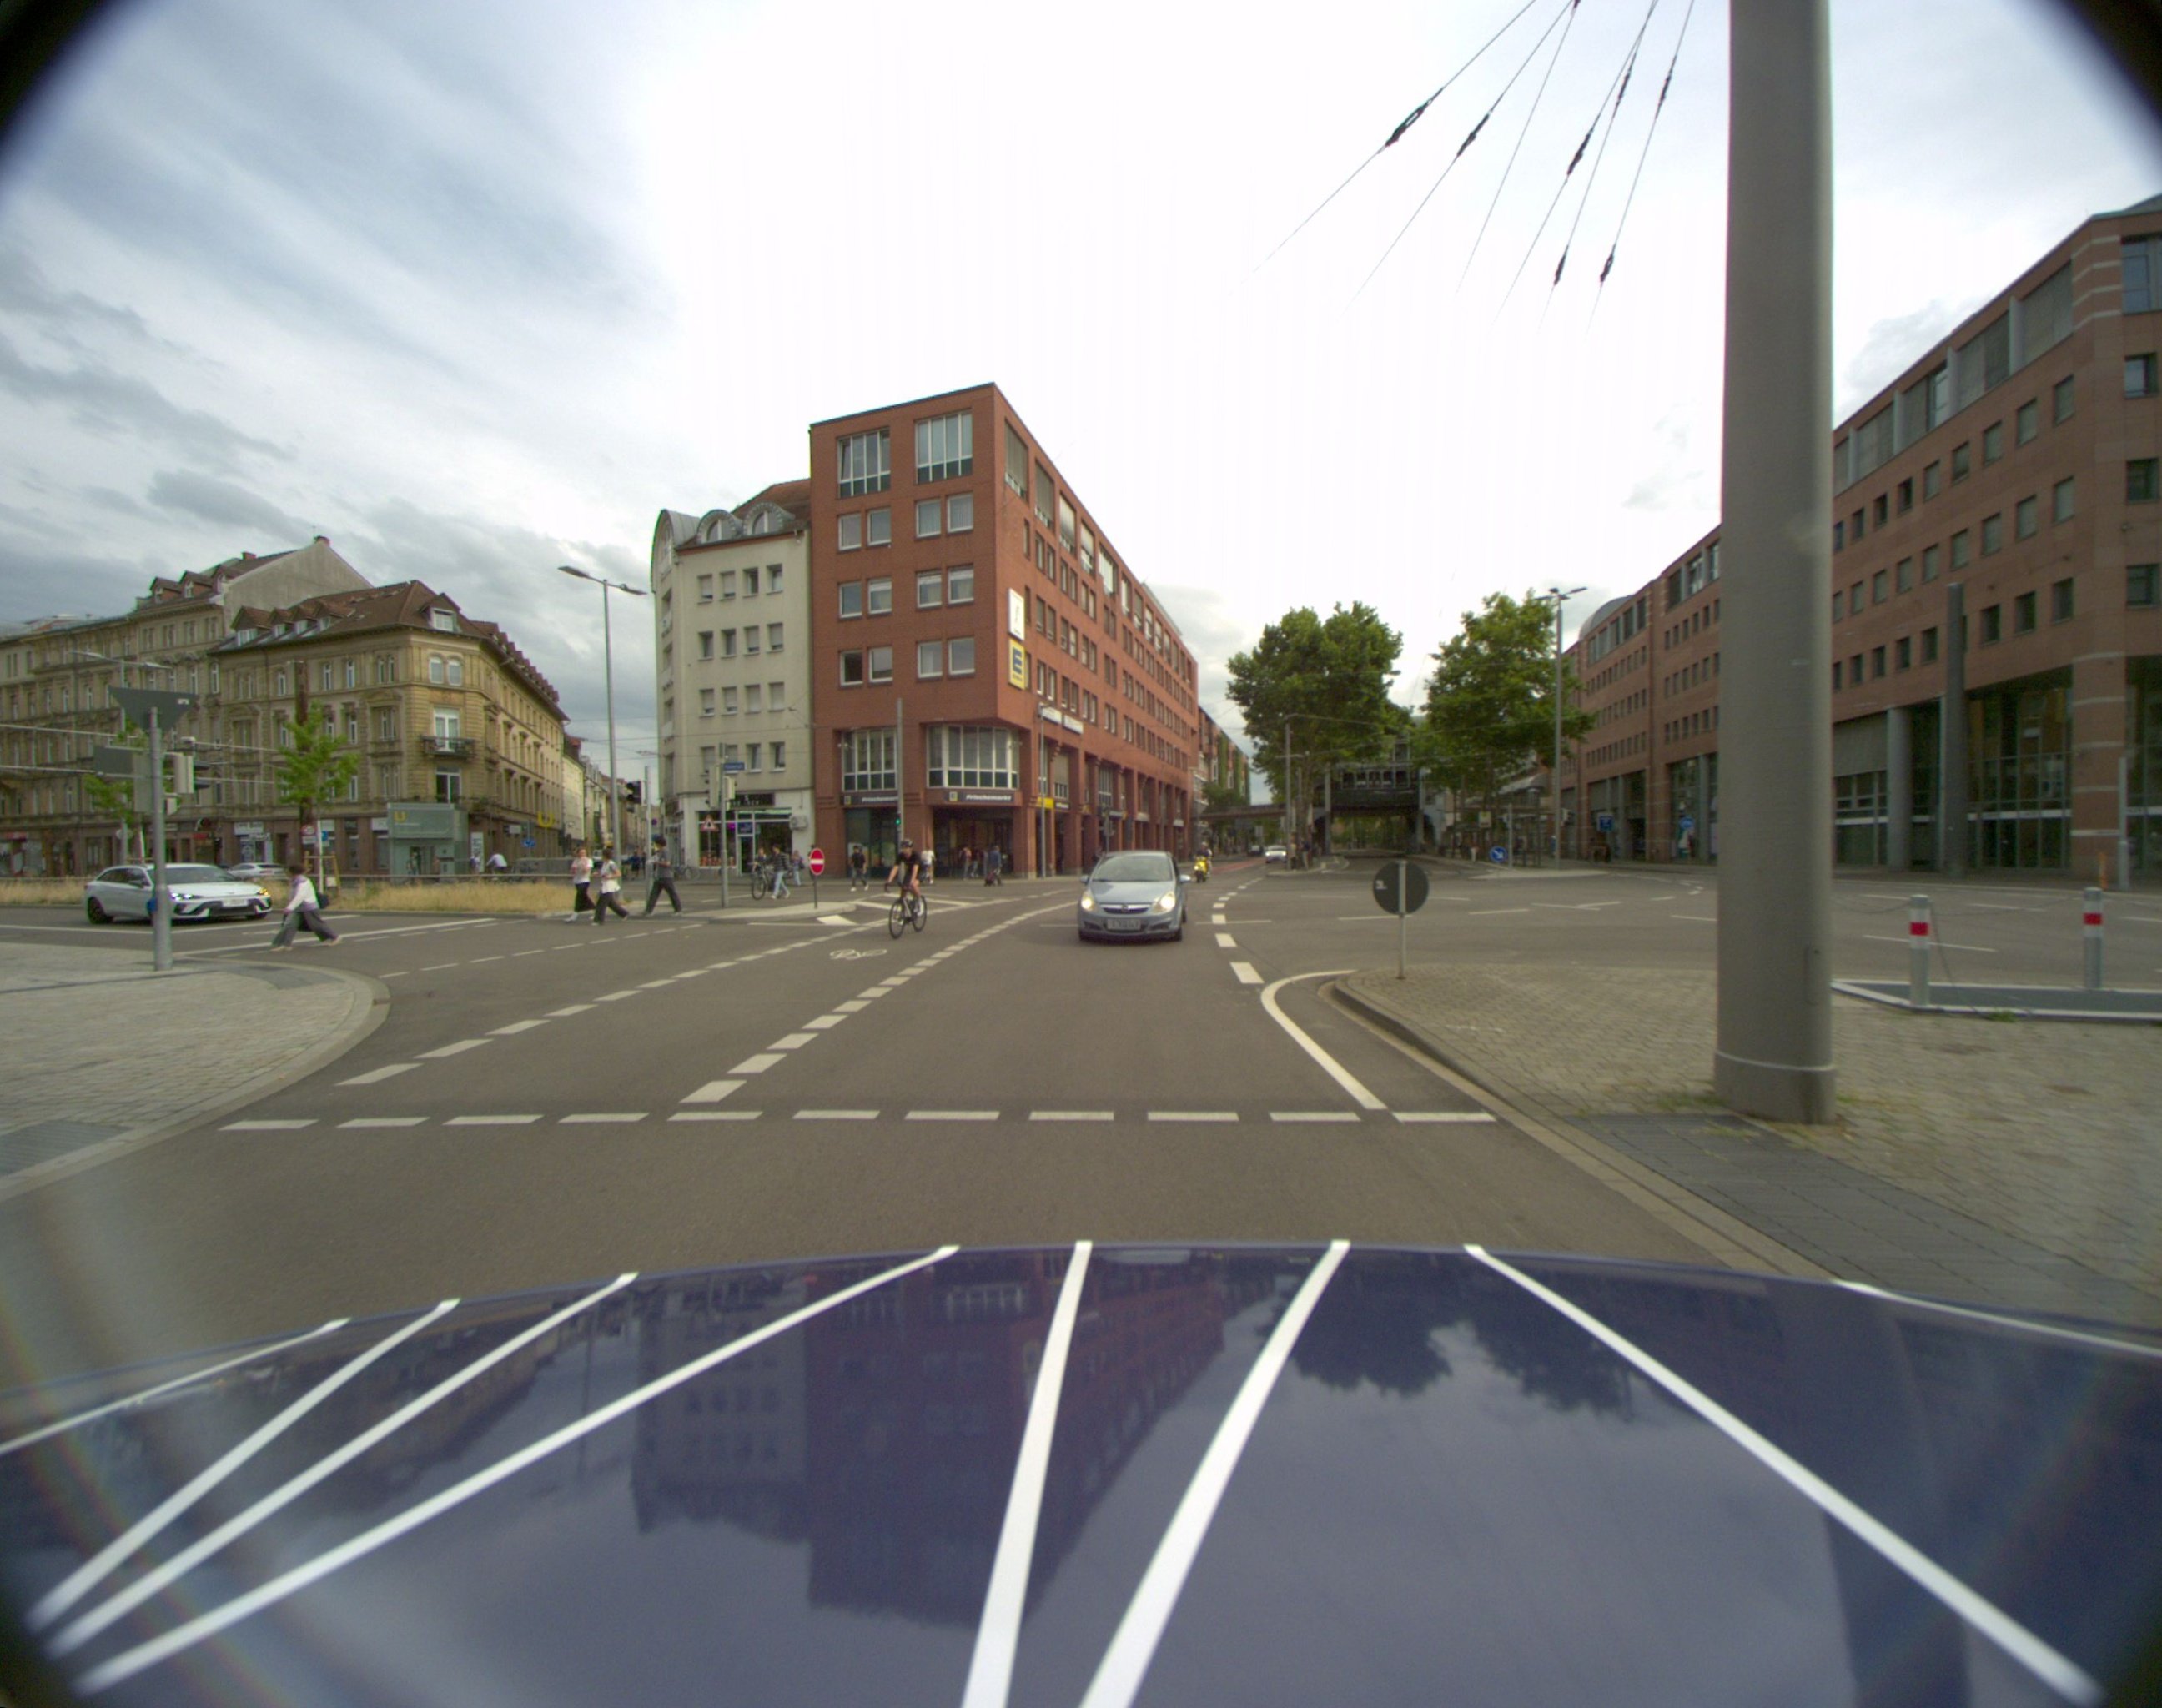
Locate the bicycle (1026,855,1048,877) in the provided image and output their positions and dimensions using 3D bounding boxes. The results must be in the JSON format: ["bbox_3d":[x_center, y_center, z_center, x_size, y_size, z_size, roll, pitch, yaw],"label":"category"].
[{"bbox_3d":[-2.370,0.621,41.098,0.566,1.086,1.700,2,3,18],"label":"bicycle"}]

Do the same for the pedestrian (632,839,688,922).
[{"bbox_3d":[-9.611,0.588,17.372,0.639,1.844,0.878,-1,1,18],"label":"pedestrian"}]

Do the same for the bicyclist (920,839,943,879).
[{"bbox_3d":[-6.521,0.209,33.227,0.641,1.700,0.863,-1,2,15],"label":"bicyclist"}]

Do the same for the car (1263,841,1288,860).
[{"bbox_3d":[18.175,-0.351,70.919,1.954,1.592,4.004,-1,2,19],"label":"car"}]

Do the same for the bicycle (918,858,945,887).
[{"bbox_3d":[-6.551,0.779,33.304,0.391,1.116,2.077,0,3,11],"label":"bicycle"}]

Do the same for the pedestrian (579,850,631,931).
[{"bbox_3d":[-10.210,0.775,16.317,0.469,1.676,0.797,-1,2,13],"label":"pedestrian"}]

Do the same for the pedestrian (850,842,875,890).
[{"bbox_3d":[-8.333,0.450,28.992,0.568,1.813,0.696,0,1,18],"label":"pedestrian"}]

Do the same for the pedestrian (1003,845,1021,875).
[{"bbox_3d":[-3.679,0.319,40.645,0.619,1.592,0.923,-1,2,18],"label":"pedestrian"}]

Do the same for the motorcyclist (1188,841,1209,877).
[{"bbox_3d":[5.059,0.196,32.684,0.871,1.508,1.044,-1,2,8],"label":"motorcyclist"}]

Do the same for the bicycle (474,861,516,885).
[{"bbox_3d":[-27.512,0.891,35.665,1.917,1.081,0.392,-1,2,12],"label":"bicycle"}]

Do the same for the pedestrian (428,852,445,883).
[{"bbox_3d":[-35.308,0.730,41.620,0.423,1.675,0.516,0,2,19],"label":"pedestrian"}]

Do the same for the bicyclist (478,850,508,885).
[{"bbox_3d":[-27.465,0.630,35.500,0.861,1.594,0.643,-1,2,11],"label":"bicyclist"}]

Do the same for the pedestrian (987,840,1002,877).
[{"bbox_3d":[-4.206,0.231,36.945,0.541,1.787,0.562,-1,1,18],"label":"pedestrian"}]

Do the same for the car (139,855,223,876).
[{"bbox_3d":[-55.726,0.708,47.049,4.145,1.259,1.839,0,2,17],"label":"car"}]

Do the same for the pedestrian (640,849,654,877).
[{"bbox_3d":[-27.242,0.562,47.674,0.518,1.713,0.542,0,3,39],"label":"pedestrian"}]

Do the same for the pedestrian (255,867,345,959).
[{"bbox_3d":[-13.576,1.006,13.230,0.552,1.493,0.847,-1,3,2],"label":"pedestrian"}]

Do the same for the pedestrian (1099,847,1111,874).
[{"bbox_3d":[1.469,0.366,46.562,0.406,1.623,0.733,2,3,26],"label":"pedestrian"}]

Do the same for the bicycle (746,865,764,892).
[{"bbox_3d":[-12.760,0.942,29.731,0.543,0.945,1.804,-2,1,-21],"label":"bicycle"}]

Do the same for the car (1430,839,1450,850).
[{"bbox_3d":[48.286,-1.277,102.339,1.865,1.464,4.301,-1,1,17],"label":"car"}]

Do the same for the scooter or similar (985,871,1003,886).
[{"bbox_3d":[-3.667,1.044,32.056,0.507,0.570,0.816,-1,2,11],"label":"scooter or similar"}]

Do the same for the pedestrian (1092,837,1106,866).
[{"bbox_3d":[1.044,-0.145,44.811,0.646,1.687,0.698,1,3,16],"label":"pedestrian"}]

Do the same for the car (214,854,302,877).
[{"bbox_3d":[-48.205,0.691,44.523,4.145,1.259,1.839,0,2,17],"label":"car"}]

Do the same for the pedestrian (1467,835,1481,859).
[{"bbox_3d":[25.529,-0.481,49.353,0.657,1.530,0.559,-1,4,14],"label":"pedestrian"}]

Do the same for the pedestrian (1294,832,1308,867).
[{"bbox_3d":[11.891,-0.271,41.050,0.692,1.864,0.808,0,2,19],"label":"pedestrian"}]

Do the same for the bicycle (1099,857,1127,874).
[{"bbox_3d":[2.186,0.777,52.006,1.867,1.078,0.628,-1,3,-32],"label":"bicycle"}]

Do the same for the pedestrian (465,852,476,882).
[{"bbox_3d":[-34.891,0.729,43.440,0.425,1.675,0.513,-2,2,-38],"label":"pedestrian"}]

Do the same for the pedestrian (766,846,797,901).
[{"bbox_3d":[-9.458,0.609,23.990,0.520,1.676,0.727,0,2,19],"label":"pedestrian"}]

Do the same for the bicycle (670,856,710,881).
[{"bbox_3d":[-20.076,0.742,38.982,1.804,1.197,0.543,-1,1,9],"label":"bicycle"}]

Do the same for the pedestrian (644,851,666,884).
[{"bbox_3d":[-21.568,0.681,38.479,0.719,1.618,0.791,-2,2,-44],"label":"pedestrian"}]

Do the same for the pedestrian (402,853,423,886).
[{"bbox_3d":[-35.613,0.827,40.483,0.731,1.676,0.606,1,6,42],"label":"pedestrian"}]

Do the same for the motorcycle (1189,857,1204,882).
[{"bbox_3d":[4.972,0.648,32.649,0.570,0.962,2.015,-1,1,9],"label":"motorcycle"}]

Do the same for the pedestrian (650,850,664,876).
[{"bbox_3d":[-27.025,0.596,48.458,0.543,1.627,0.584,0,3,39],"label":"pedestrian"}]

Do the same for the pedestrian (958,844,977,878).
[{"bbox_3d":[-5.523,0.321,36.889,0.541,1.642,0.894,-1,1,18],"label":"pedestrian"}]

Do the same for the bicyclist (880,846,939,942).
[{"bbox_3d":[-2.981,0.671,13.247,0.612,1.594,0.848,0,2,18],"label":"bicyclist"}]

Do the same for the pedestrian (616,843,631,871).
[{"bbox_3d":[-28.366,0.171,47.101,0.518,1.713,0.592,0,3,39],"label":"pedestrian"}]

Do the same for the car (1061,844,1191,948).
[{"bbox_3d":[0.954,0.624,13.475,1.722,1.395,4.001,-3,2,11],"label":"car"}]

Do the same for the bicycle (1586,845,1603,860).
[{"bbox_3d":[40.022,-0.148,59.245,0.546,1.111,1.591,0,2,15],"label":"bicycle"}]

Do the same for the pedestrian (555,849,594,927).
[{"bbox_3d":[-11.315,0.730,16.987,0.636,1.685,0.704,-2,2,-29],"label":"pedestrian"}]

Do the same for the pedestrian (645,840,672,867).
[{"bbox_3d":[-29.825,-0.054,53.665,1.163,1.818,1.132,-1,2,9],"label":"pedestrian"}]

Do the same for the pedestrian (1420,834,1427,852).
[{"bbox_3d":[33.668,-1.046,74.642,0.481,1.761,0.482,-1,2,11],"label":"pedestrian"}]

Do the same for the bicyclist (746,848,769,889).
[{"bbox_3d":[-12.655,0.552,29.759,0.747,1.550,0.944,-2,2,-20],"label":"bicyclist"}]

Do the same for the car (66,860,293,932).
[{"bbox_3d":[-22.241,0.962,18.772,4.593,1.504,2.002,0,3,19],"label":"car"}]

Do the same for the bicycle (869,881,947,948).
[{"bbox_3d":[-2.992,1.024,13.292,0.488,0.995,1.750,0,2,18],"label":"bicycle"}]

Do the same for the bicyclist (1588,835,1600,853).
[{"bbox_3d":[40.014,-0.779,59.250,0.551,1.373,0.738,-1,2,13],"label":"bicyclist"}]

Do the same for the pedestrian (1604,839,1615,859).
[{"bbox_3d":[40.992,-0.372,58.893,0.528,1.565,0.601,0,2,18],"label":"pedestrian"}]

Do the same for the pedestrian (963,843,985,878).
[{"bbox_3d":[-5.494,0.322,39.020,0.647,1.705,1.057,-1,2,18],"label":"pedestrian"}]

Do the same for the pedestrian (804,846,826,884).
[{"bbox_3d":[-11.753,0.496,33.588,0.708,1.638,0.719,-2,1,-34],"label":"pedestrian"}]

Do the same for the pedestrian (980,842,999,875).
[{"bbox_3d":[-4.662,0.227,38.716,0.647,1.679,0.651,-1,3,18],"label":"pedestrian"}]

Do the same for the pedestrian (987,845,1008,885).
[{"bbox_3d":[-3.604,0.466,32.839,0.639,1.678,0.601,-1,1,18],"label":"pedestrian"}]

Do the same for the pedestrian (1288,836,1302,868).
[{"bbox_3d":[12.166,-0.126,43.211,0.534,1.781,0.578,0,2,38],"label":"pedestrian"}]

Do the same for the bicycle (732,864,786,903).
[{"bbox_3d":[-10.028,0.899,23.727,0.397,1.104,1.832,0,1,19],"label":"bicycle"}]

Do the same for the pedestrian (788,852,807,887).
[{"bbox_3d":[-12.351,0.670,33.132,0.594,1.502,0.628,-2,1,-34],"label":"pedestrian"}]

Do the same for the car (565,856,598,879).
[{"bbox_3d":[-37.798,0.993,57.533,1.698,1.577,3.651,-2,1,-28],"label":"car"}]

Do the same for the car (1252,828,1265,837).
[{"bbox_3d":[33.794,-4.121,144.561,1.954,1.592,4.004,-1,2,19],"label":"car"}]

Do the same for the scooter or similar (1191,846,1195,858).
[{"bbox_3d":[11.976,-0.188,81.035,0.272,1.250,0.922,0,2,19],"label":"scooter or similar"}]
